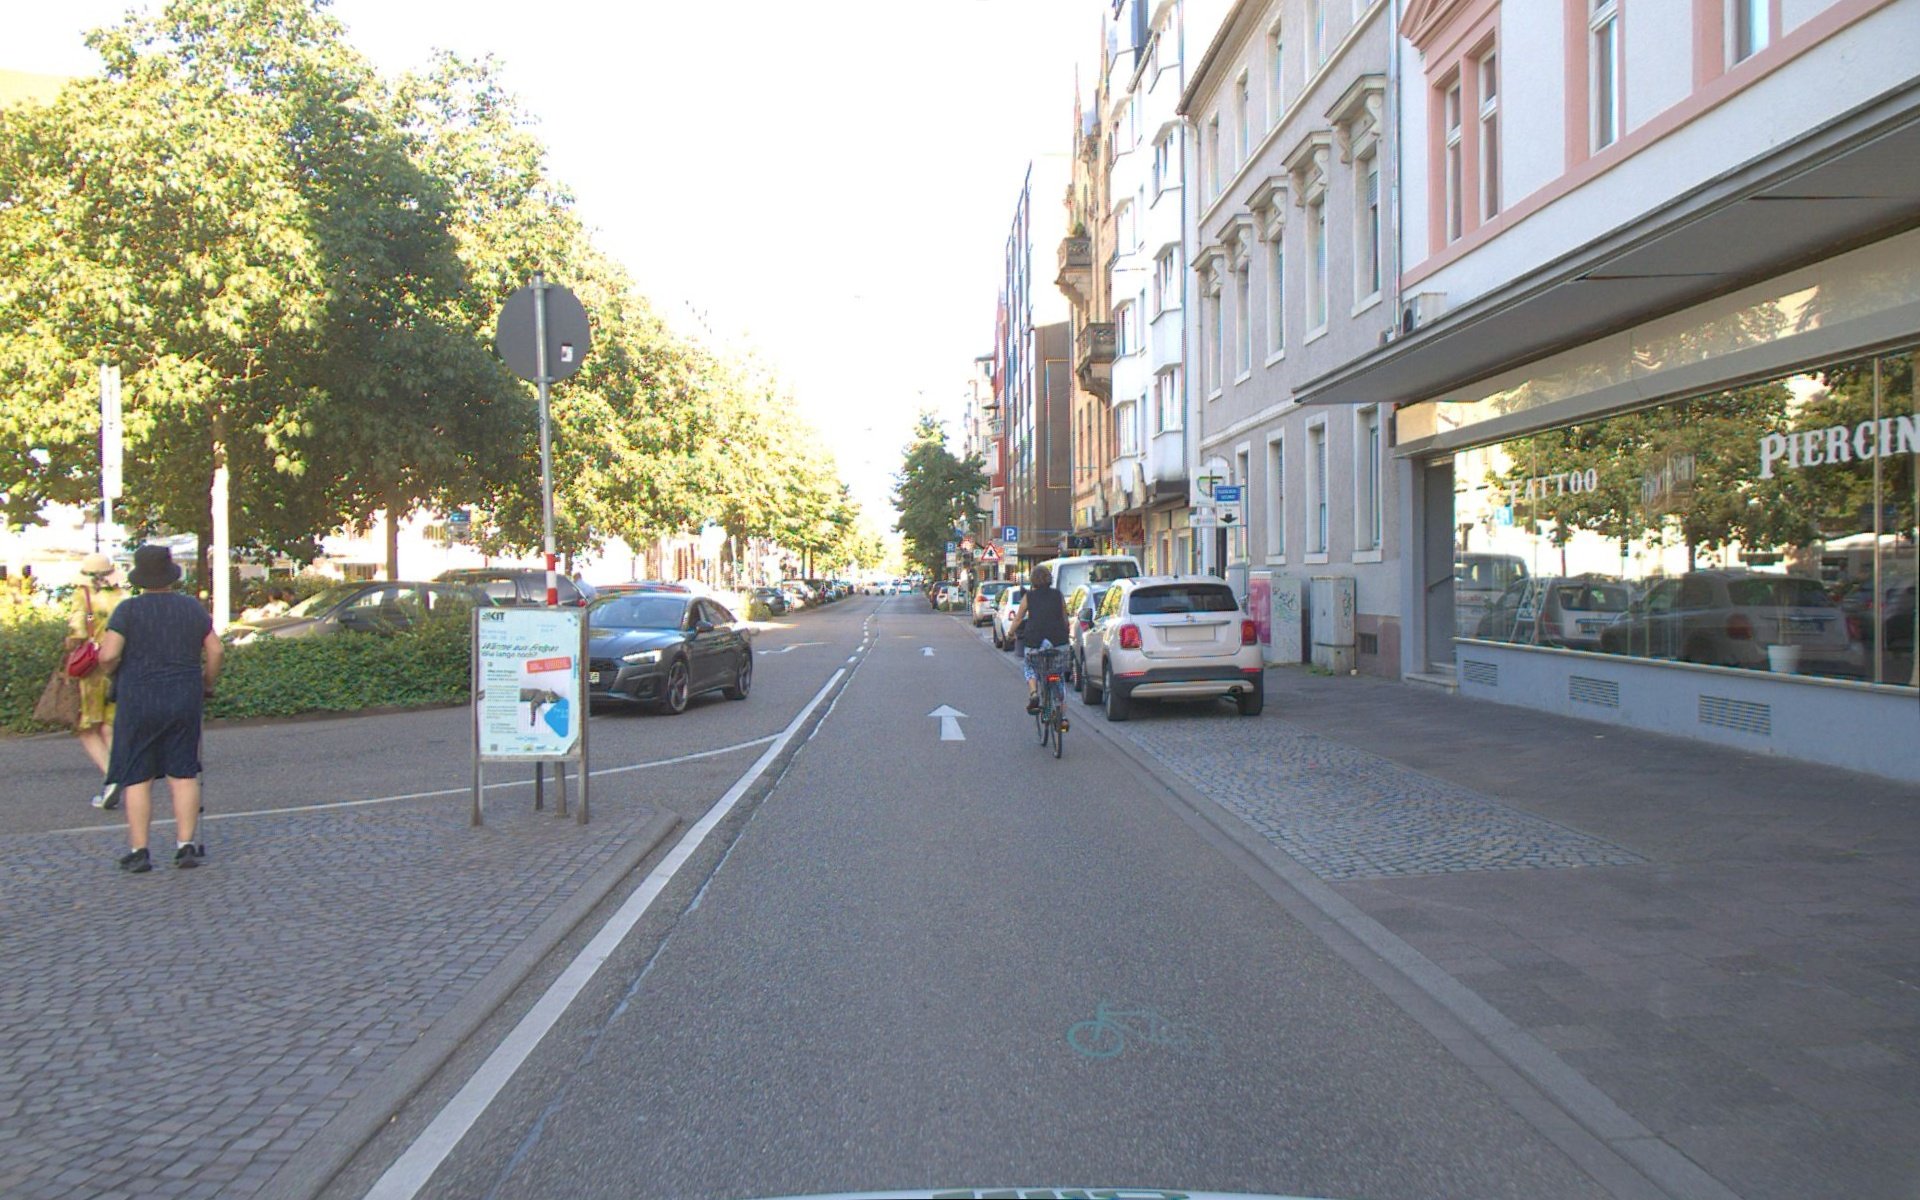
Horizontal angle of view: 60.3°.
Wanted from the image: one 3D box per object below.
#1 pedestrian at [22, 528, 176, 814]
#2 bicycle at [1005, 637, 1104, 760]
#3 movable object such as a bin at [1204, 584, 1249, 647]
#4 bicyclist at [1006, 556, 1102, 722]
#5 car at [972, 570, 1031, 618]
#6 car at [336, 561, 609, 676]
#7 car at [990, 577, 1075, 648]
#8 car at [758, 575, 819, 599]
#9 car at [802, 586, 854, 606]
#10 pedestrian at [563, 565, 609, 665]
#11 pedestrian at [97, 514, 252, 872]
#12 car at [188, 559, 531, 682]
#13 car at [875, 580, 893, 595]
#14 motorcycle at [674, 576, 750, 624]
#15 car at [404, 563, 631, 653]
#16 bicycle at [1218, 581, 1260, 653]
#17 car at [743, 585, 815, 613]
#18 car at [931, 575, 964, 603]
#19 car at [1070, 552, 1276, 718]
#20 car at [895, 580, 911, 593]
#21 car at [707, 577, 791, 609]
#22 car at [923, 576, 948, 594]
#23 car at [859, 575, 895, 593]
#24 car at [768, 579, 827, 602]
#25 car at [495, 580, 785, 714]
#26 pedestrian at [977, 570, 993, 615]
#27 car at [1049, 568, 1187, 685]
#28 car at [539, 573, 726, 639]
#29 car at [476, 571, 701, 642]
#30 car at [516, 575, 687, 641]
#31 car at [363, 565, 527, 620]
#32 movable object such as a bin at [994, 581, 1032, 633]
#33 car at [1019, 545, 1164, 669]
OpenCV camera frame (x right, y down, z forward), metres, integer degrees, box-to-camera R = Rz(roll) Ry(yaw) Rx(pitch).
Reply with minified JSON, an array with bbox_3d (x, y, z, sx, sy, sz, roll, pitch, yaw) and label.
[{"bbox_3d":[-5.471,0.430,10.507,0.665,1.729,0.792,1,-1,-43],"label":"pedestrian"},{"bbox_3d":[0.836,0.861,15.285,0.639,0.975,2.696,1,0,-2],"label":"bicycle"},{"bbox_3d":[5.032,0.293,31.263,0.752,1.181,0.578,1,0,1],"label":"movable object such as a bin"},{"bbox_3d":[0.857,0.351,15.318,0.770,1.478,1.095,1,0,-3],"label":"bicyclist"},{"bbox_3d":[1.472,-0.205,60.980,1.861,1.704,4.823,1,0,-2],"label":"car"},{"bbox_3d":[-7.610,0.285,25.945,3.925,1.697,1.990,1,1,-18],"label":"car"},{"bbox_3d":[1.698,0.303,39.704,1.684,1.541,3.581,-3,0,-2],"label":"car"},{"bbox_3d":[-11.400,-0.844,110.230,3.906,1.534,1.894,1,0,-1],"label":"car"},{"bbox_3d":[-10.530,-0.319,132.422,3.904,1.534,2.000,2,0,1],"label":"car"},{"bbox_3d":[-6.340,0.257,28.051,0.686,1.678,0.645,1,-1,-9],"label":"pedestrian"},{"bbox_3d":[-3.959,0.445,8.320,0.629,1.701,0.685,1,-1,-31],"label":"pedestrian"},{"bbox_3d":[-7.974,0.275,22.079,3.957,1.495,1.850,1,0,-37],"label":"car"},{"bbox_3d":[-8.590,-1.438,187.073,1.953,1.583,3.999,1,0,-1],"label":"car"},{"bbox_3d":[-8.726,-0.006,58.130,2.419,1.632,1.000,-1,0,17],"label":"motorcycle"},{"bbox_3d":[-8.379,0.155,31.598,3.909,1.626,1.748,1,0,-5],"label":"car"},{"bbox_3d":[4.933,0.298,29.207,0.473,1.206,1.721,-3,-1,16],"label":"bicycle"},{"bbox_3d":[-10.277,-0.052,94.144,3.906,1.534,2.000,1,0,-1],"label":"car"},{"bbox_3d":[-0.752,-0.645,101.970,1.952,1.646,4.010,1,0,0],"label":"car"},{"bbox_3d":[2.453,0.386,20.262,1.710,1.769,4.958,1,0,-2],"label":"car"},{"bbox_3d":[-7.070,-1.690,205.190,1.832,1.583,3.999,1,0,-1],"label":"car"},{"bbox_3d":[-10.370,-0.340,81.473,3.906,1.534,2.000,1,0,-1],"label":"car"},{"bbox_3d":[-1.982,-1.224,134.355,1.953,1.478,3.998,0,1,-2],"label":"car"},{"bbox_3d":[-9.813,-1.920,196.237,3.902,2.049,2.002,0,0,8],"label":"car"},{"bbox_3d":[-11.247,-0.624,114.859,3.907,1.534,1.999,1,0,-2],"label":"car"},{"bbox_3d":[-3.771,0.521,20.495,1.870,1.441,4.814,1,0,11],"label":"car"},{"bbox_3d":[0.994,-0.301,65.730,0.601,1.765,0.634,1,-1,-1],"label":"pedestrian"},{"bbox_3d":[2.325,0.384,25.170,1.665,1.632,3.756,0,0,-1],"label":"car"},{"bbox_3d":[-8.020,0.159,40.569,4.176,1.503,1.718,1,0,-30],"label":"car"},{"bbox_3d":[-8.433,0.167,37.599,4.768,1.514,1.753,1,0,-23],"label":"car"},{"bbox_3d":[-9.237,0.230,42.696,3.951,1.614,1.810,1,0,-34],"label":"car"},{"bbox_3d":[-18.116,-0.242,58.242,5.205,1.831,2.143,1,0,-29],"label":"car"},{"bbox_3d":[1.618,0.198,50.361,1.051,1.482,1.493,-3,1,3],"label":"movable object such as a bin"},{"bbox_3d":[2.284,0.071,30.151,1.954,2.039,5.114,-1,1,-3],"label":"car"}]
